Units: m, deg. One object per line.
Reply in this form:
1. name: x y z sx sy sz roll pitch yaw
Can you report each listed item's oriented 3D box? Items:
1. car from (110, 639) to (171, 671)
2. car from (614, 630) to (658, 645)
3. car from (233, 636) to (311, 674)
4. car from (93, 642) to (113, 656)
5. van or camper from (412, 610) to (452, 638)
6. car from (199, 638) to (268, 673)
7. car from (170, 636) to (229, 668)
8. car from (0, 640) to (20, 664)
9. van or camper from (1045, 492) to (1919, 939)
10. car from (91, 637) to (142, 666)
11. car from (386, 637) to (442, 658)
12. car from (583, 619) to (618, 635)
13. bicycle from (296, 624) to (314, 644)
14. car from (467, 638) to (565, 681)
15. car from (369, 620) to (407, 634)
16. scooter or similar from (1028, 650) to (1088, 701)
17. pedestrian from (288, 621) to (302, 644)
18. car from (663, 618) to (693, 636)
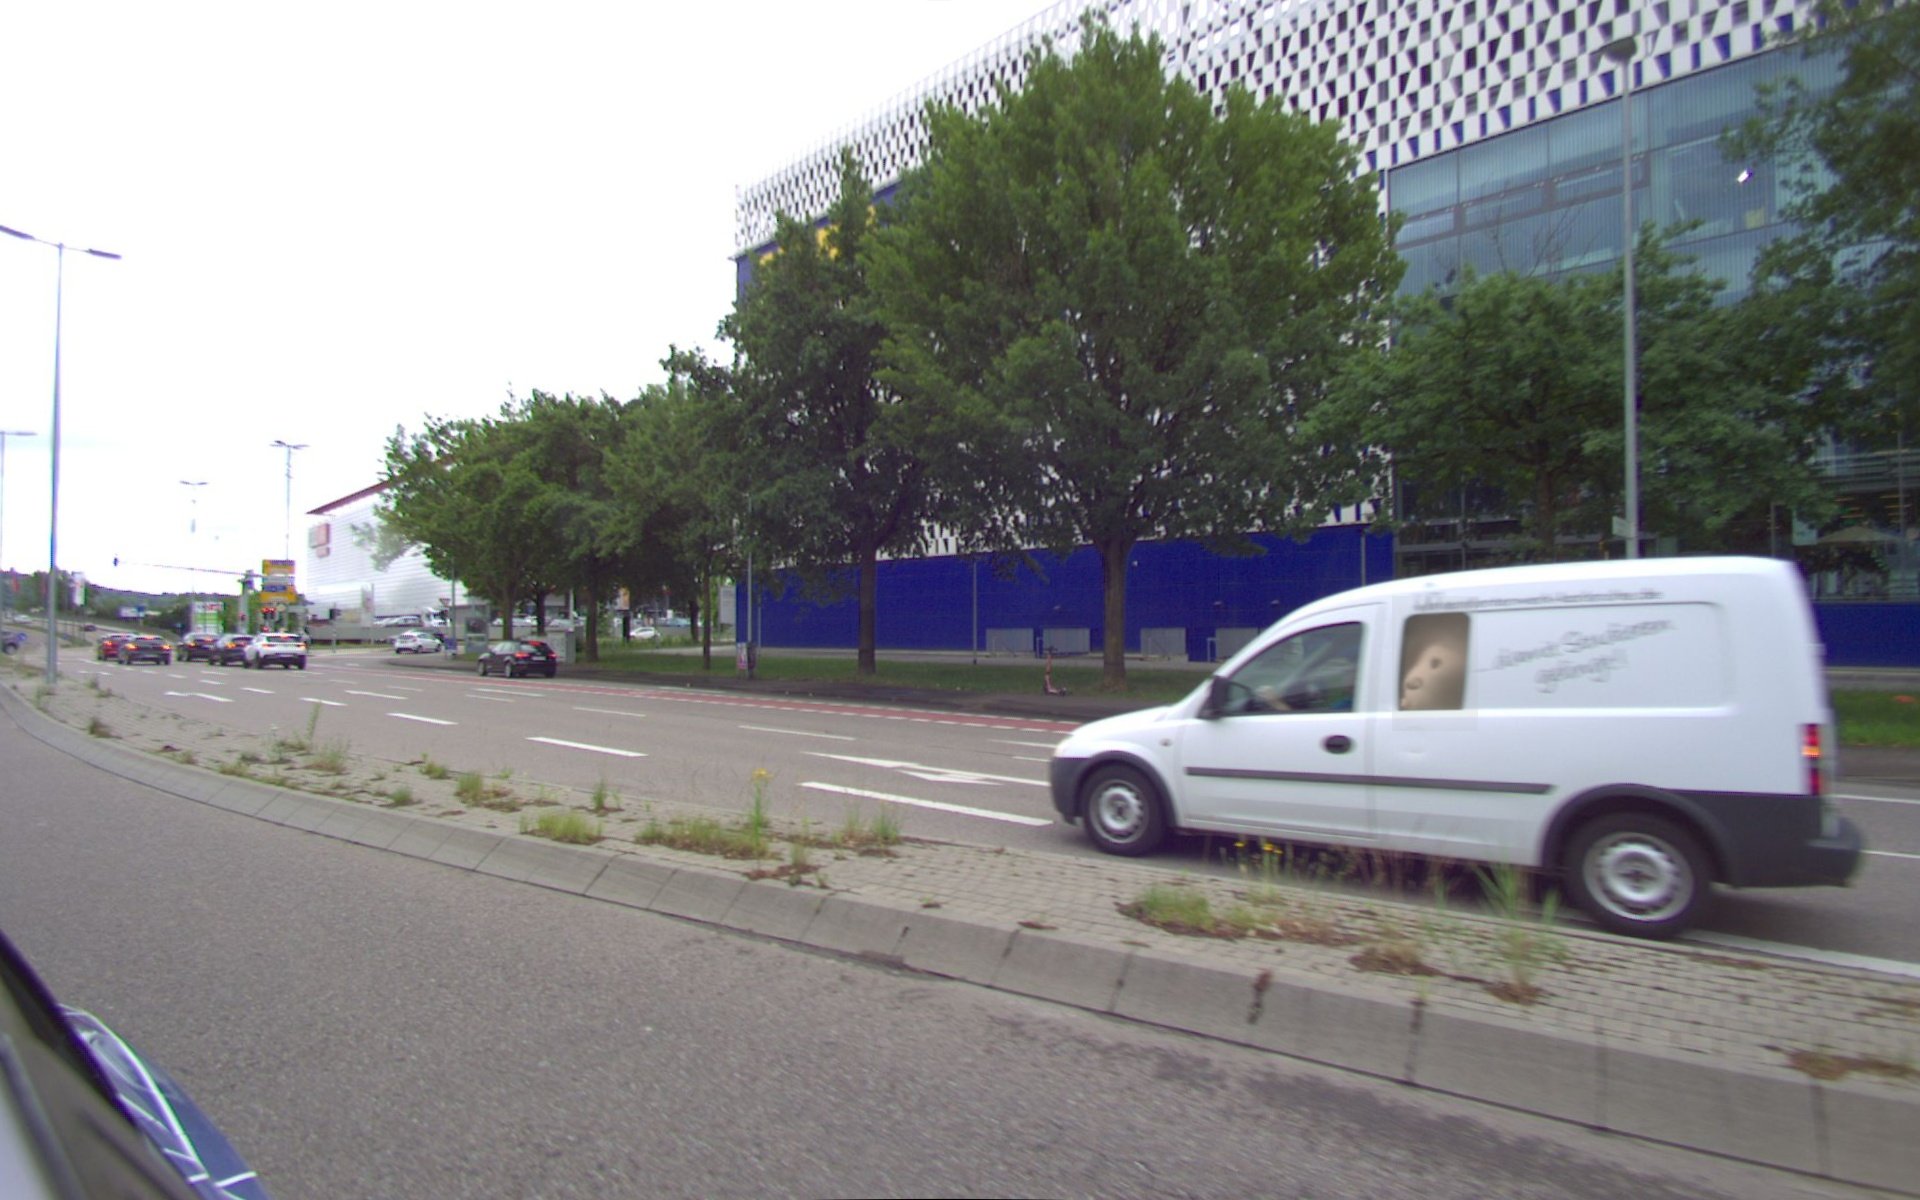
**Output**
1. car: -40.179 2.697 49.573 1.836 1.473 4.334 4 -5 -45
2. car: -35.075 4.017 109.486 4.154 1.426 1.805 0 -3 -42
3. car: -31.174 2.512 45.819 4.579 1.607 1.971 -3 -6 45
4. car: -102.704 5.878 121.234 1.669 1.540 3.930 0 -3 -43
5. van or camper: -64.512 2.939 123.569 2.673 3.159 7.245 0 -3 -42
6. car: -35.781 2.700 49.822 4.599 1.556 1.859 -1 -3 43
7. car: -42.574 2.880 56.638 4.333 1.650 1.859 -1 -5 43
8. car: -64.786 3.470 66.450 1.793 1.586 4.182 -4 -2 25
9. van or camper: 2.816 0.565 5.919 4.402 1.760 1.738 -2 -6 39
10. car: -46.678 2.821 56.005 4.080 1.499 1.715 -1 -2 44
11. car: -39.248 3.420 72.905 1.836 1.473 4.334 0 -3 -3
12. car: -48.580 3.610 136.744 3.941 2.029 2.001 0 -3 -44
13. bicycle: -46.639 2.421 72.112 0.587 1.407 1.940 1 -2 -18
14. car: -17.078 2.277 38.836 4.252 1.513 1.897 -1 -4 44
15. car: -76.843 3.657 135.917 4.194 1.688 1.779 0 -3 -42
16. scooter or similar: 2.460 1.884 25.445 1.377 1.205 0.648 -3 -2 42
17. pedestrian: -47.167 2.285 71.784 0.630 1.639 0.694 1 -1 -19
18. car: -35.687 3.401 127.979 1.970 2.029 4.003 0 -3 -44
